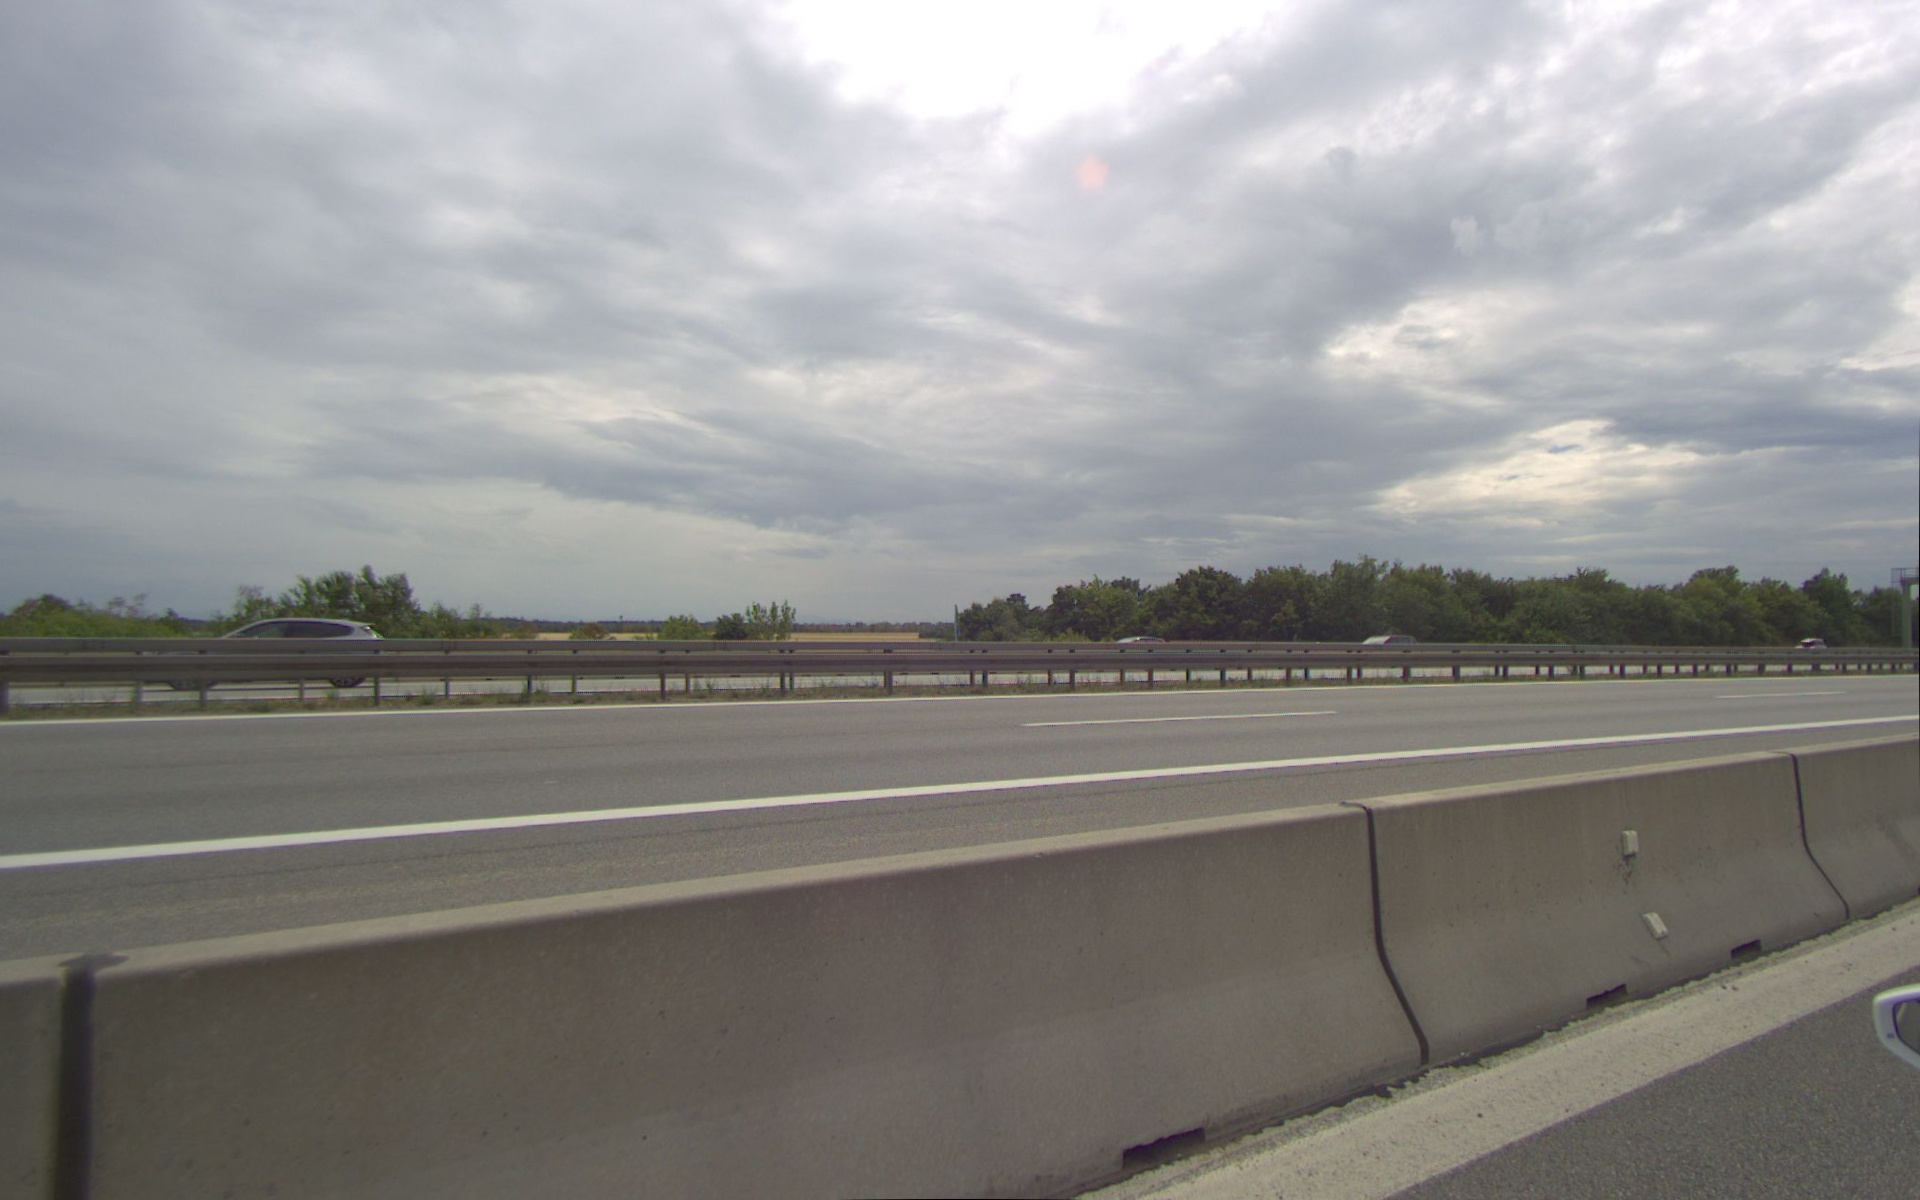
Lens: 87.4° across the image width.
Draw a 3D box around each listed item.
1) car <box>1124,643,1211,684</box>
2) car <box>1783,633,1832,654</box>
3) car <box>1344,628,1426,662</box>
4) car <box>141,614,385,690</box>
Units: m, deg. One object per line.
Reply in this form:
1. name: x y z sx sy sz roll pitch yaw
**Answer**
1. car: 9.907 2.998 47.917 3.953 1.751 1.681 0 0 -30
2. car: 65.497 3.371 77.600 3.952 1.561 1.633 1 0 -29
3. car: 22.906 2.405 54.132 3.948 1.744 1.986 1 0 -27
4. car: -14.304 1.049 20.917 3.950 1.417 1.698 1 0 -28
